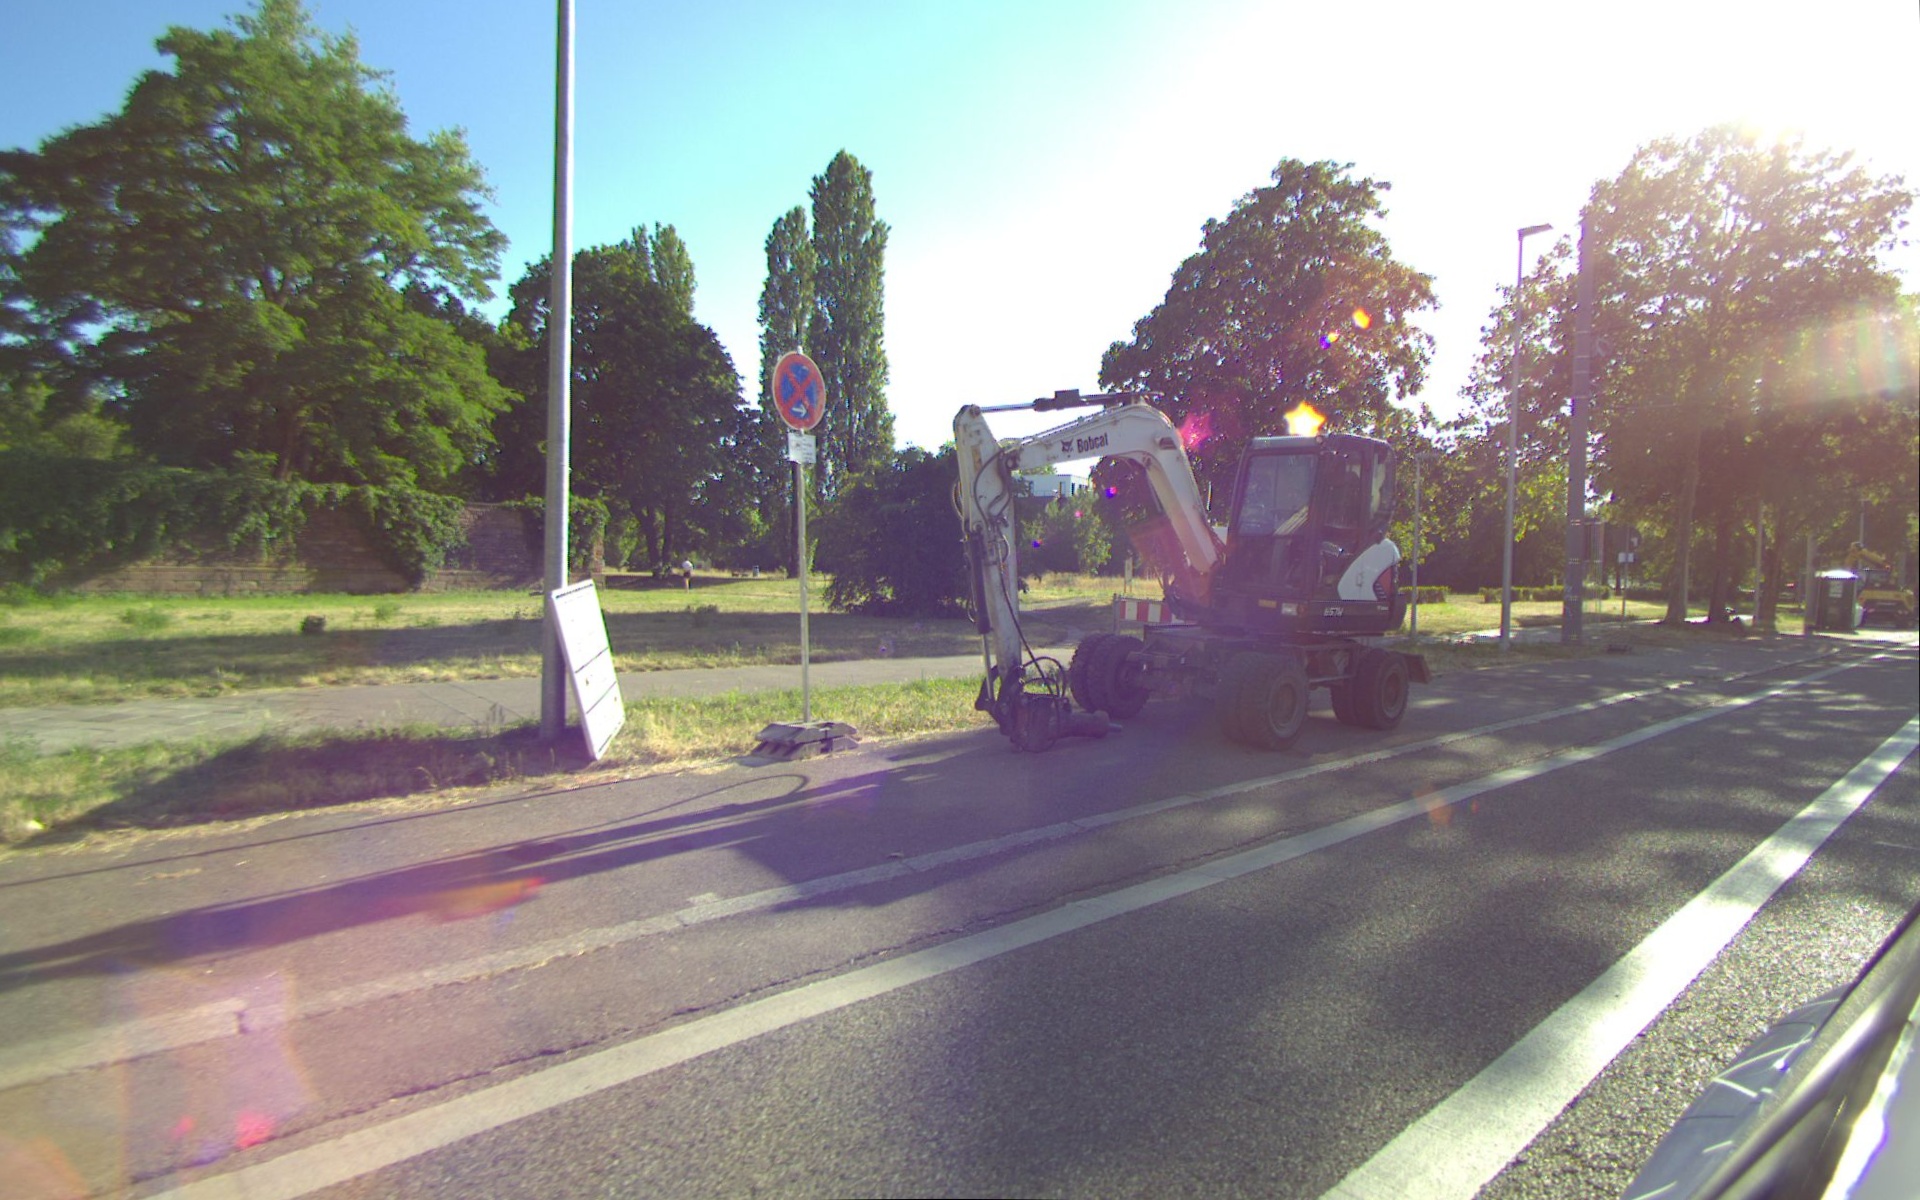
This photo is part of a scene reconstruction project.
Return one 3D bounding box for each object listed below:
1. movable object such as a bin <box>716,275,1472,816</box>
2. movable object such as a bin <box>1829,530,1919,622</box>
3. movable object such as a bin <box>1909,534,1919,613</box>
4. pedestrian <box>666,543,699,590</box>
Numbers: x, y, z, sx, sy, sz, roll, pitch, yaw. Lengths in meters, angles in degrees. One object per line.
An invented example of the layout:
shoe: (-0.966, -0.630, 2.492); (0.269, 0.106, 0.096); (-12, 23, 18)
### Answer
movable object such as a bin: (1.685, -0.423, 9.328); (7.093, 3.183, 2.751); (0, 5, -41)
movable object such as a bin: (44.778, -1.156, 48.847); (7.473, 4.023, 3.343); (0, 5, -44)
movable object such as a bin: (59.921, -1.497, 61.270); (7.473, 4.665, 2.918); (0, 5, -44)
pedestrian: (-12.188, -1.455, 44.461); (0.855, 2.039, 1.262); (-1, 0, 17)
